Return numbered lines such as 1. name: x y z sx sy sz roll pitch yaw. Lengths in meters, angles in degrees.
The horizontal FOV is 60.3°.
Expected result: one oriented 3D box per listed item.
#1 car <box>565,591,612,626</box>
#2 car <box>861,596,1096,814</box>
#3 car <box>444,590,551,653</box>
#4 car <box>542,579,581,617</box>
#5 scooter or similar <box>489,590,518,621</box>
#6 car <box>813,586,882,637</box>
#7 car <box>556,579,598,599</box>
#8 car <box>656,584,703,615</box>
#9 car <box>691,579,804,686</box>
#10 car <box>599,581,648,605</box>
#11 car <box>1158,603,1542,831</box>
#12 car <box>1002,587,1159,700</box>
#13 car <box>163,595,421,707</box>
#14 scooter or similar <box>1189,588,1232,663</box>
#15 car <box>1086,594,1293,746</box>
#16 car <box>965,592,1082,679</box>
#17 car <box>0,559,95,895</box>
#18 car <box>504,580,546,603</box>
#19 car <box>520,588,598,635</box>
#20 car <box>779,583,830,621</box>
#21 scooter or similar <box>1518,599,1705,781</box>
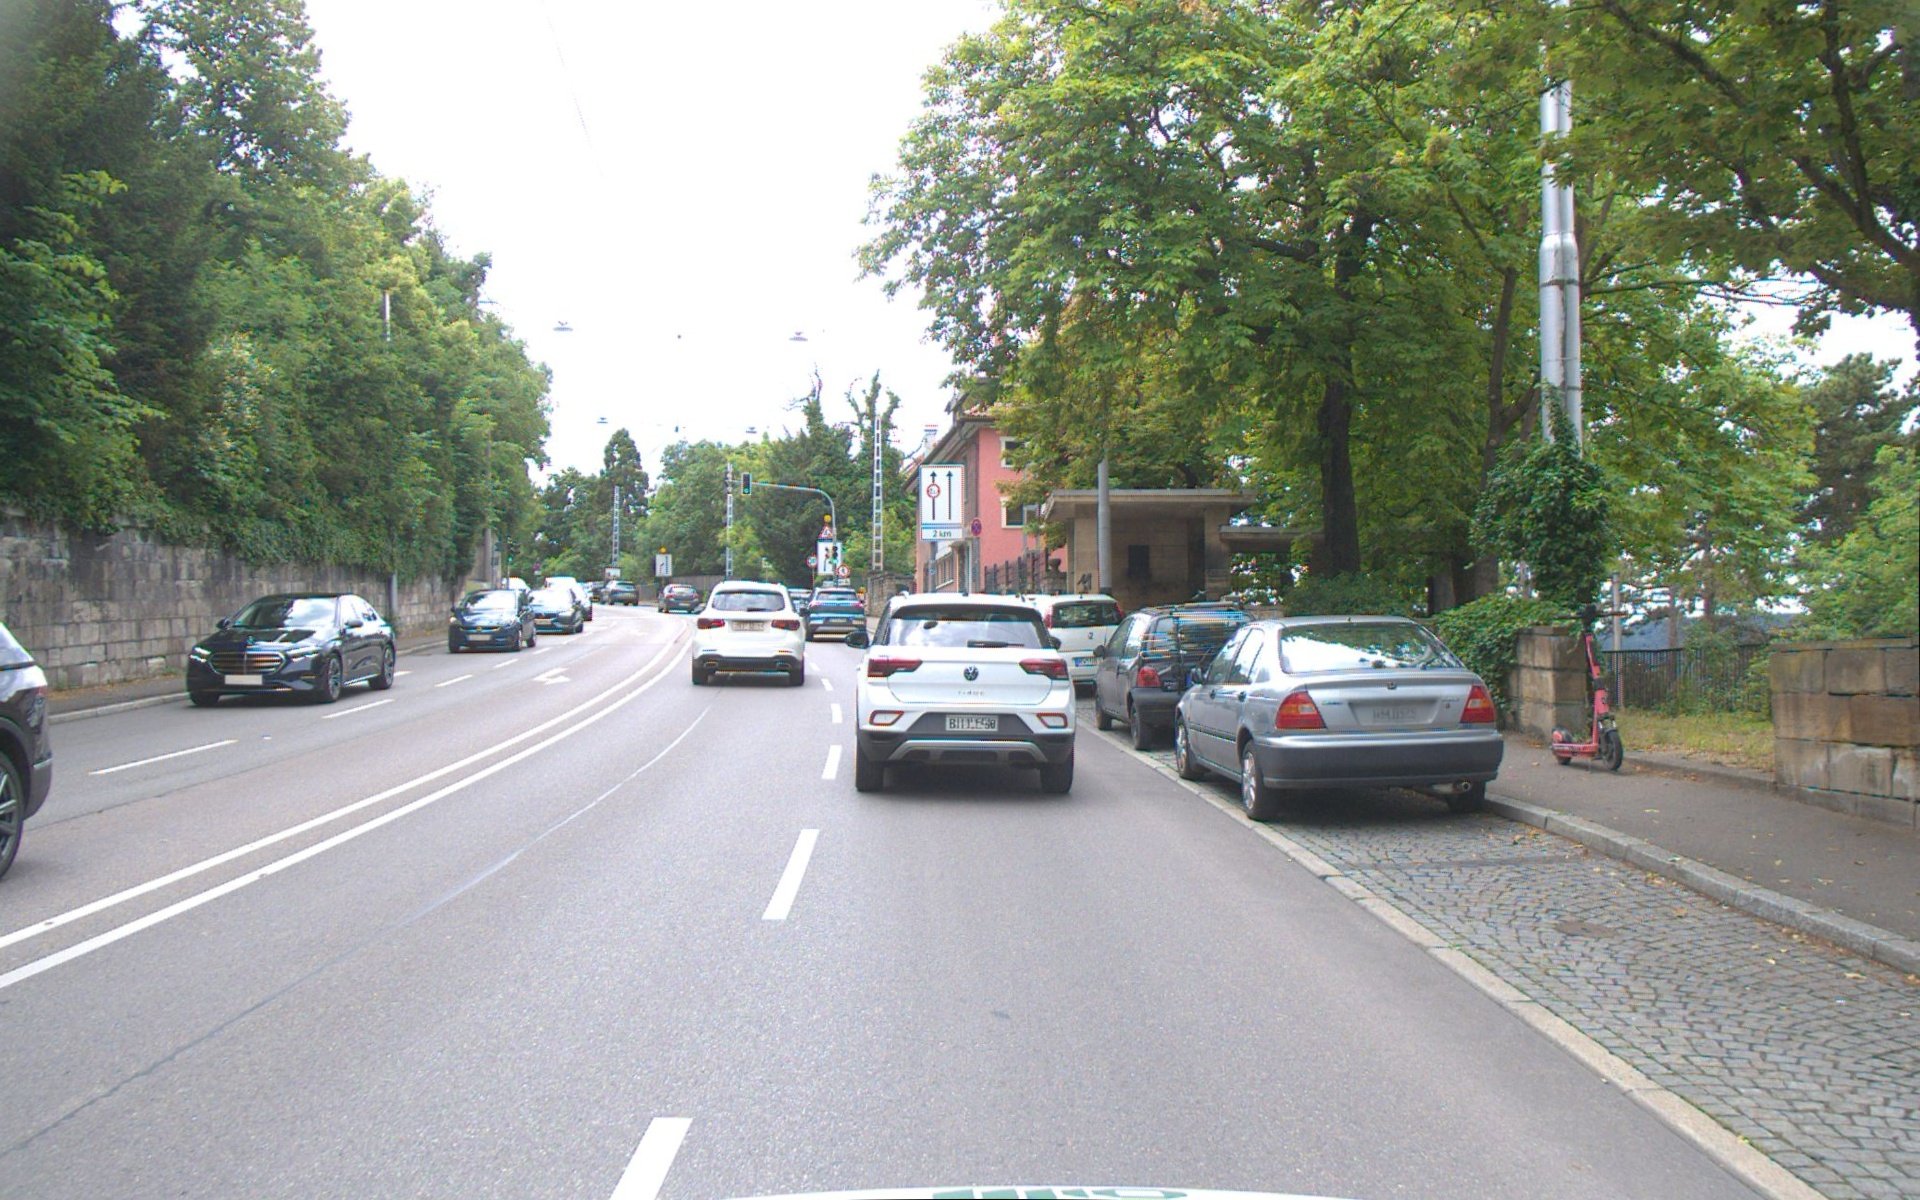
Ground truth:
1. car: -16.068 0.342 71.695 1.532 1.426 4.247 -1 0 -7
2. car: 0.032 0.805 14.274 1.723 1.583 3.792 2 -1 -3
3. car: -11.304 0.489 40.665 1.806 1.461 3.996 -1 0 -5
4. car: -20.735 -0.087 85.988 1.861 1.880 4.379 2 -1 -14
5. scooter or similar: -19.599 0.230 71.037 0.425 1.259 1.095 3 -2 33
6. car: -3.318 0.348 48.863 1.954 1.439 4.147 0 -1 -4
7. car: -29.123 -0.834 125.740 1.973 1.475 4.107 1 -1 -31
8. car: -14.352 -0.014 84.546 1.753 1.480 3.979 1 0 -18
9. car: -3.548 0.534 28.089 1.724 1.638 3.790 2 -1 -6
10. car: -23.179 -0.486 113.811 1.974 1.603 4.105 1 -1 -32
11. car: 2.792 0.764 12.943 1.734 1.423 4.549 -1 0 -2
12. car: 1.787 0.608 25.802 1.682 1.497 4.033 -3 1 -6
13. car: -9.458 0.671 23.888 1.962 1.434 4.753 -1 0 -2
14. scooter or similar: 4.451 0.433 29.429 0.506 1.282 1.168 -2 0 -2
15. car: 2.453 0.710 18.425 1.531 1.447 3.421 -3 0 -4
16. car: 1.138 0.616 31.442 1.643 1.486 4.361 -2 0 -5
17. car: -5.670 0.649 6.896 1.811 1.680 4.622 -1 0 -2
18. car: -31.476 -0.628 119.633 1.831 1.661 4.314 0 1 -32
19. car: -12.868 0.348 53.312 1.807 1.434 4.450 -1 0 -6
20. car: -6.265 0.084 66.428 1.955 1.475 4.145 0 -1 -6
21. scooter or similar: 5.023 0.653 12.897 0.550 1.265 1.999 -5 0 -1
